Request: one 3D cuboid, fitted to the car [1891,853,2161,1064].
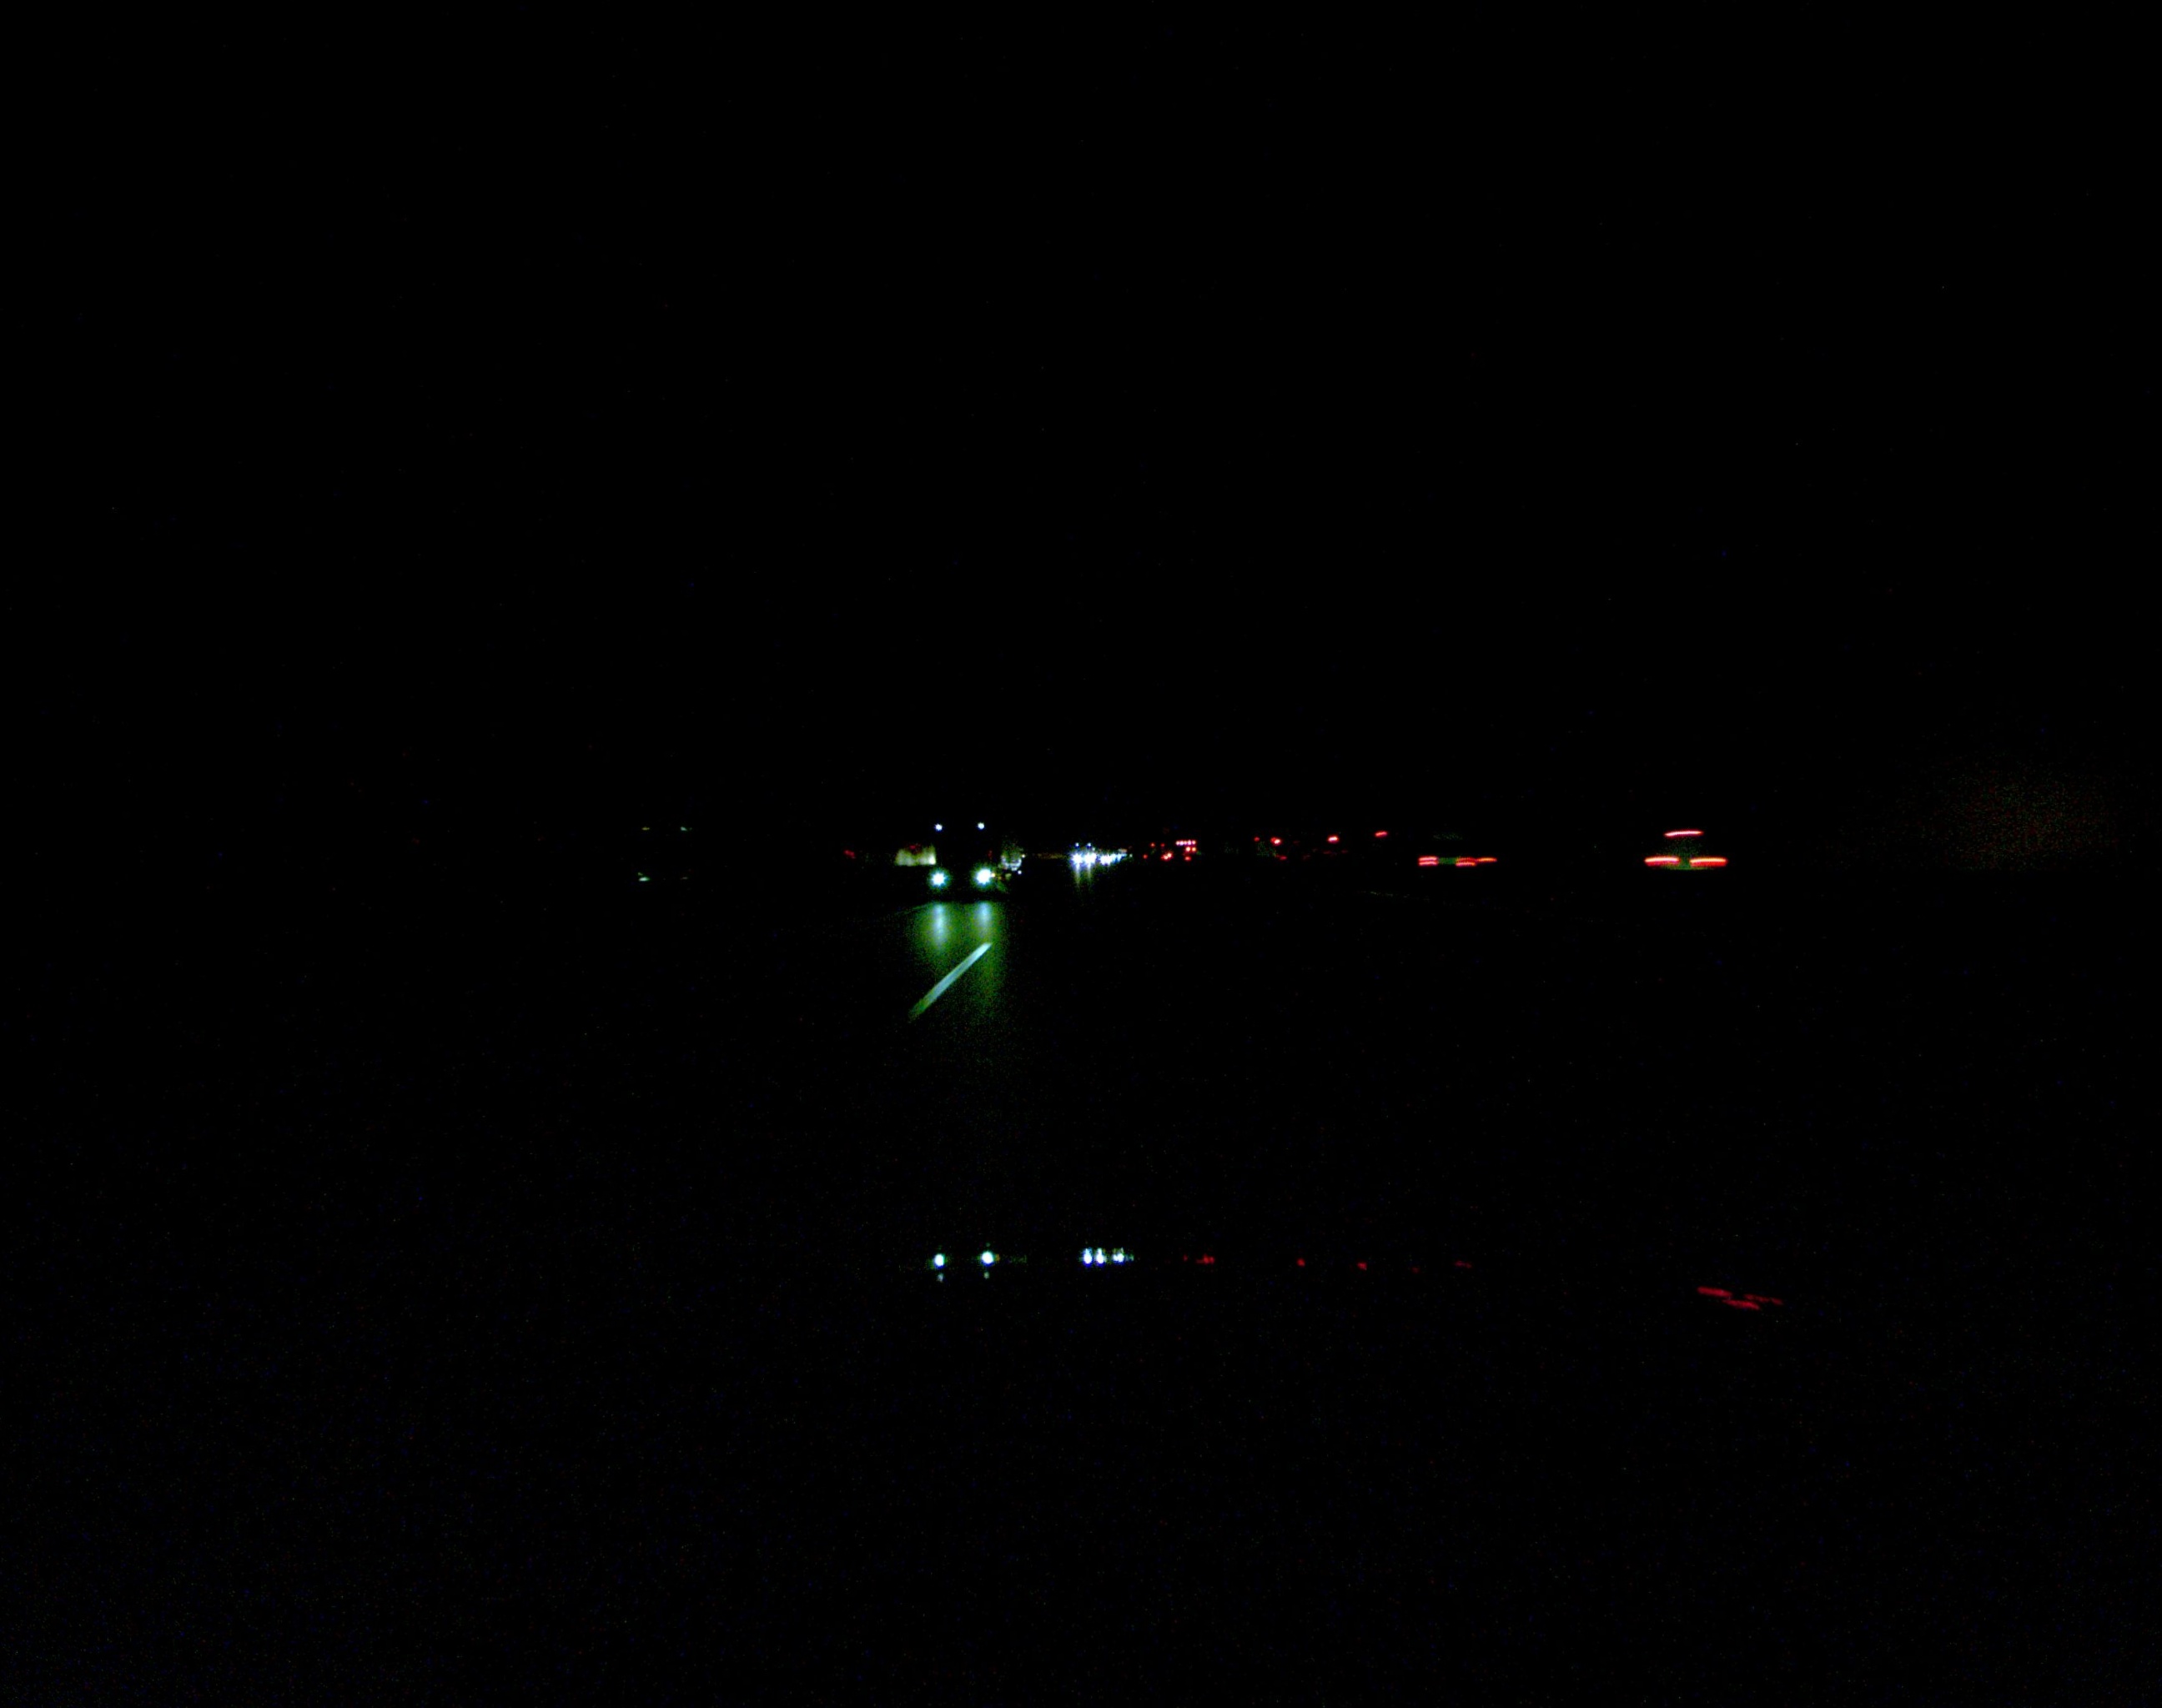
[{"bbox_3d":[11.893,1.075,8.163,1.999,2.002,3.997,-3,1,-4],"label":"car"}]

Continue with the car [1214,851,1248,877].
[{"bbox_3d":[12.694,0.837,64.677,1.999,2.002,3.998,-3,1,-1],"label":"car"}]

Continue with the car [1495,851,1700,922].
[{"bbox_3d":[12.134,0.690,18.224,1.999,1.351,3.997,-3,1,-4],"label":"car"}]

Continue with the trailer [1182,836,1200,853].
[{"bbox_3d":[20.967,-1.879,145.115,2.612,3.158,9.003,-2,1,3],"label":"trailer"}]

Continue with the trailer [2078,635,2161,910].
[{"bbox_3d":[15.919,-1.021,4.890,2.893,3.651,12.212,-3,1,-1],"label":"trailer"}]

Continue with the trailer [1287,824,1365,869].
[{"bbox_3d":[23.692,-0.702,74.533,2.890,3.654,13.130,-8,0,0],"label":"trailer"}]

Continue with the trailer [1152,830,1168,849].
[{"bbox_3d":[18.654,-3.464,178.793,3.096,4.065,12.453,-2,1,8],"label":"trailer"}]

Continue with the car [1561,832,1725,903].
[{"bbox_3d":[24.165,0.535,33.139,2.320,2.702,6.357,-3,0,-1],"label":"car"}]

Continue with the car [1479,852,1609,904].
[{"bbox_3d":[15.858,0.739,26.327,1.734,1.477,4.645,-3,1,2],"label":"car"}]

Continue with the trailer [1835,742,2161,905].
[{"bbox_3d":[24.185,-0.686,16.135,2.967,3.422,13.435,-2,0,0],"label":"trailer"}]

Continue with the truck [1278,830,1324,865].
[{"bbox_3d":[23.724,-0.682,82.386,2.890,3.654,7.263,0,1,0],"label":"truck"}]

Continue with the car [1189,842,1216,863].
[{"bbox_3d":[12.400,-0.192,77.588,1.999,2.002,3.998,-3,1,-1],"label":"car"}]

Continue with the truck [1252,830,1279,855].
[{"bbox_3d":[24.816,-1.577,102.360,2.400,3.192,4.906,-1,1,0],"label":"truck"}]

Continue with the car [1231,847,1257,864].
[{"bbox_3d":[16.263,0.131,75.962,1.702,1.477,3.977,-3,1,0],"label":"car"}]

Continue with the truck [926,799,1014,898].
[{"bbox_3d":[-4.890,-0.254,35.041,2.869,4.053,7.510,1,1,0],"label":"truck"}]

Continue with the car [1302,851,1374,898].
[{"bbox_3d":[12.266,0.934,36.598,1.999,2.002,3.998,-3,1,-1],"label":"car"}]

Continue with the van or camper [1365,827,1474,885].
[{"bbox_3d":[16.854,0.077,38.457,2.089,2.617,7.603,0,1,-1],"label":"van or camper"}]

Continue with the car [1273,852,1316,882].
[{"bbox_3d":[16.309,0.952,58.268,1.999,2.002,3.998,-3,1,-1],"label":"car"}]

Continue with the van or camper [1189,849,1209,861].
[{"bbox_3d":[20.869,0.111,134.966,2.193,2.002,7.640,0,1,-1],"label":"van or camper"}]

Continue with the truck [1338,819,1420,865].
[{"bbox_3d":[20.412,-0.862,52.502,2.769,2.969,7.400,-1,1,0],"label":"truck"}]

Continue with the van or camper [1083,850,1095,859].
[{"bbox_3d":[1.315,0.073,121.280,1.824,1.346,5.351,0,1,1],"label":"van or camper"}]

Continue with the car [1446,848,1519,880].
[{"bbox_3d":[23.740,0.555,45.116,1.999,1.637,4.312,-3,1,-1],"label":"car"}]

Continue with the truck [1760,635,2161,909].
[{"bbox_3d":[15.852,-1.207,12.694,2.881,3.653,6.778,-3,1,0],"label":"truck"}]

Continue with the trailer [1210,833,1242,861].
[{"bbox_3d":[20.069,-1.038,105.785,2.399,3.606,11.179,-1,1,1],"label":"trailer"}]

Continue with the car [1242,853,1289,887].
[{"bbox_3d":[12.199,1.029,50.463,1.999,2.002,3.998,-3,1,-1],"label":"car"}]

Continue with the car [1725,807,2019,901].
[{"bbox_3d":[19.736,-0.057,19.428,1.999,2.002,5.241,-3,1,-1],"label":"car"}]

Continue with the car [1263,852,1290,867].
[{"bbox_3d":[19.563,0.530,76.017,1.719,1.346,4.000,0,1,1],"label":"car"}]

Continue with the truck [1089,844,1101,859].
[{"bbox_3d":[4.334,-0.806,233.308,2.873,3.819,8.053,-7,3,5],"label":"truck"}]

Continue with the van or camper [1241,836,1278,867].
[{"bbox_3d":[20.113,-0.303,85.984,2.439,3.253,7.393,0,1,1],"label":"van or camper"}]

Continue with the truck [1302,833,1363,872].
[{"bbox_3d":[20.337,-0.173,61.957,2.562,2.969,7.450,-1,1,0],"label":"truck"}]

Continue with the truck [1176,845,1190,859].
[{"bbox_3d":[22.726,-0.481,169.526,2.563,2.942,8.173,0,1,4],"label":"truck"}]

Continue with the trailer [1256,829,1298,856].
[{"bbox_3d":[24.834,-1.488,96.714,2.400,3.192,11.177,-1,1,0],"label":"trailer"}]

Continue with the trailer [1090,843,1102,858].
[{"bbox_3d":[4.864,-1.262,240.804,2.881,3.910,12.884,-6,3,4],"label":"trailer"}]

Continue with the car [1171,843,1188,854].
[{"bbox_3d":[11.785,-0.664,91.363,1.574,1.346,4.000,0,1,1],"label":"car"}]

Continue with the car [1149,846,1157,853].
[{"bbox_3d":[13.774,-0.791,144.942,1.573,1.346,4.001,0,1,5],"label":"car"}]

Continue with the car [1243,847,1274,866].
[{"bbox_3d":[15.880,0.191,68.212,1.703,1.477,3.976,-3,1,-2],"label":"car"}]

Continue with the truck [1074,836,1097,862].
[{"bbox_3d":[0.603,-1.014,132.068,3.491,4.112,18.700,-1,2,-1],"label":"truck"}]

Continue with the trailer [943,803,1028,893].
[{"bbox_3d":[-4.844,-0.320,41.460,2.861,4.044,13.203,1,0,0],"label":"trailer"}]

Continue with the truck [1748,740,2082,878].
[{"bbox_3d":[24.193,-1.174,22.663,2.967,3.422,6.361,-2,1,0],"label":"truck"}]
